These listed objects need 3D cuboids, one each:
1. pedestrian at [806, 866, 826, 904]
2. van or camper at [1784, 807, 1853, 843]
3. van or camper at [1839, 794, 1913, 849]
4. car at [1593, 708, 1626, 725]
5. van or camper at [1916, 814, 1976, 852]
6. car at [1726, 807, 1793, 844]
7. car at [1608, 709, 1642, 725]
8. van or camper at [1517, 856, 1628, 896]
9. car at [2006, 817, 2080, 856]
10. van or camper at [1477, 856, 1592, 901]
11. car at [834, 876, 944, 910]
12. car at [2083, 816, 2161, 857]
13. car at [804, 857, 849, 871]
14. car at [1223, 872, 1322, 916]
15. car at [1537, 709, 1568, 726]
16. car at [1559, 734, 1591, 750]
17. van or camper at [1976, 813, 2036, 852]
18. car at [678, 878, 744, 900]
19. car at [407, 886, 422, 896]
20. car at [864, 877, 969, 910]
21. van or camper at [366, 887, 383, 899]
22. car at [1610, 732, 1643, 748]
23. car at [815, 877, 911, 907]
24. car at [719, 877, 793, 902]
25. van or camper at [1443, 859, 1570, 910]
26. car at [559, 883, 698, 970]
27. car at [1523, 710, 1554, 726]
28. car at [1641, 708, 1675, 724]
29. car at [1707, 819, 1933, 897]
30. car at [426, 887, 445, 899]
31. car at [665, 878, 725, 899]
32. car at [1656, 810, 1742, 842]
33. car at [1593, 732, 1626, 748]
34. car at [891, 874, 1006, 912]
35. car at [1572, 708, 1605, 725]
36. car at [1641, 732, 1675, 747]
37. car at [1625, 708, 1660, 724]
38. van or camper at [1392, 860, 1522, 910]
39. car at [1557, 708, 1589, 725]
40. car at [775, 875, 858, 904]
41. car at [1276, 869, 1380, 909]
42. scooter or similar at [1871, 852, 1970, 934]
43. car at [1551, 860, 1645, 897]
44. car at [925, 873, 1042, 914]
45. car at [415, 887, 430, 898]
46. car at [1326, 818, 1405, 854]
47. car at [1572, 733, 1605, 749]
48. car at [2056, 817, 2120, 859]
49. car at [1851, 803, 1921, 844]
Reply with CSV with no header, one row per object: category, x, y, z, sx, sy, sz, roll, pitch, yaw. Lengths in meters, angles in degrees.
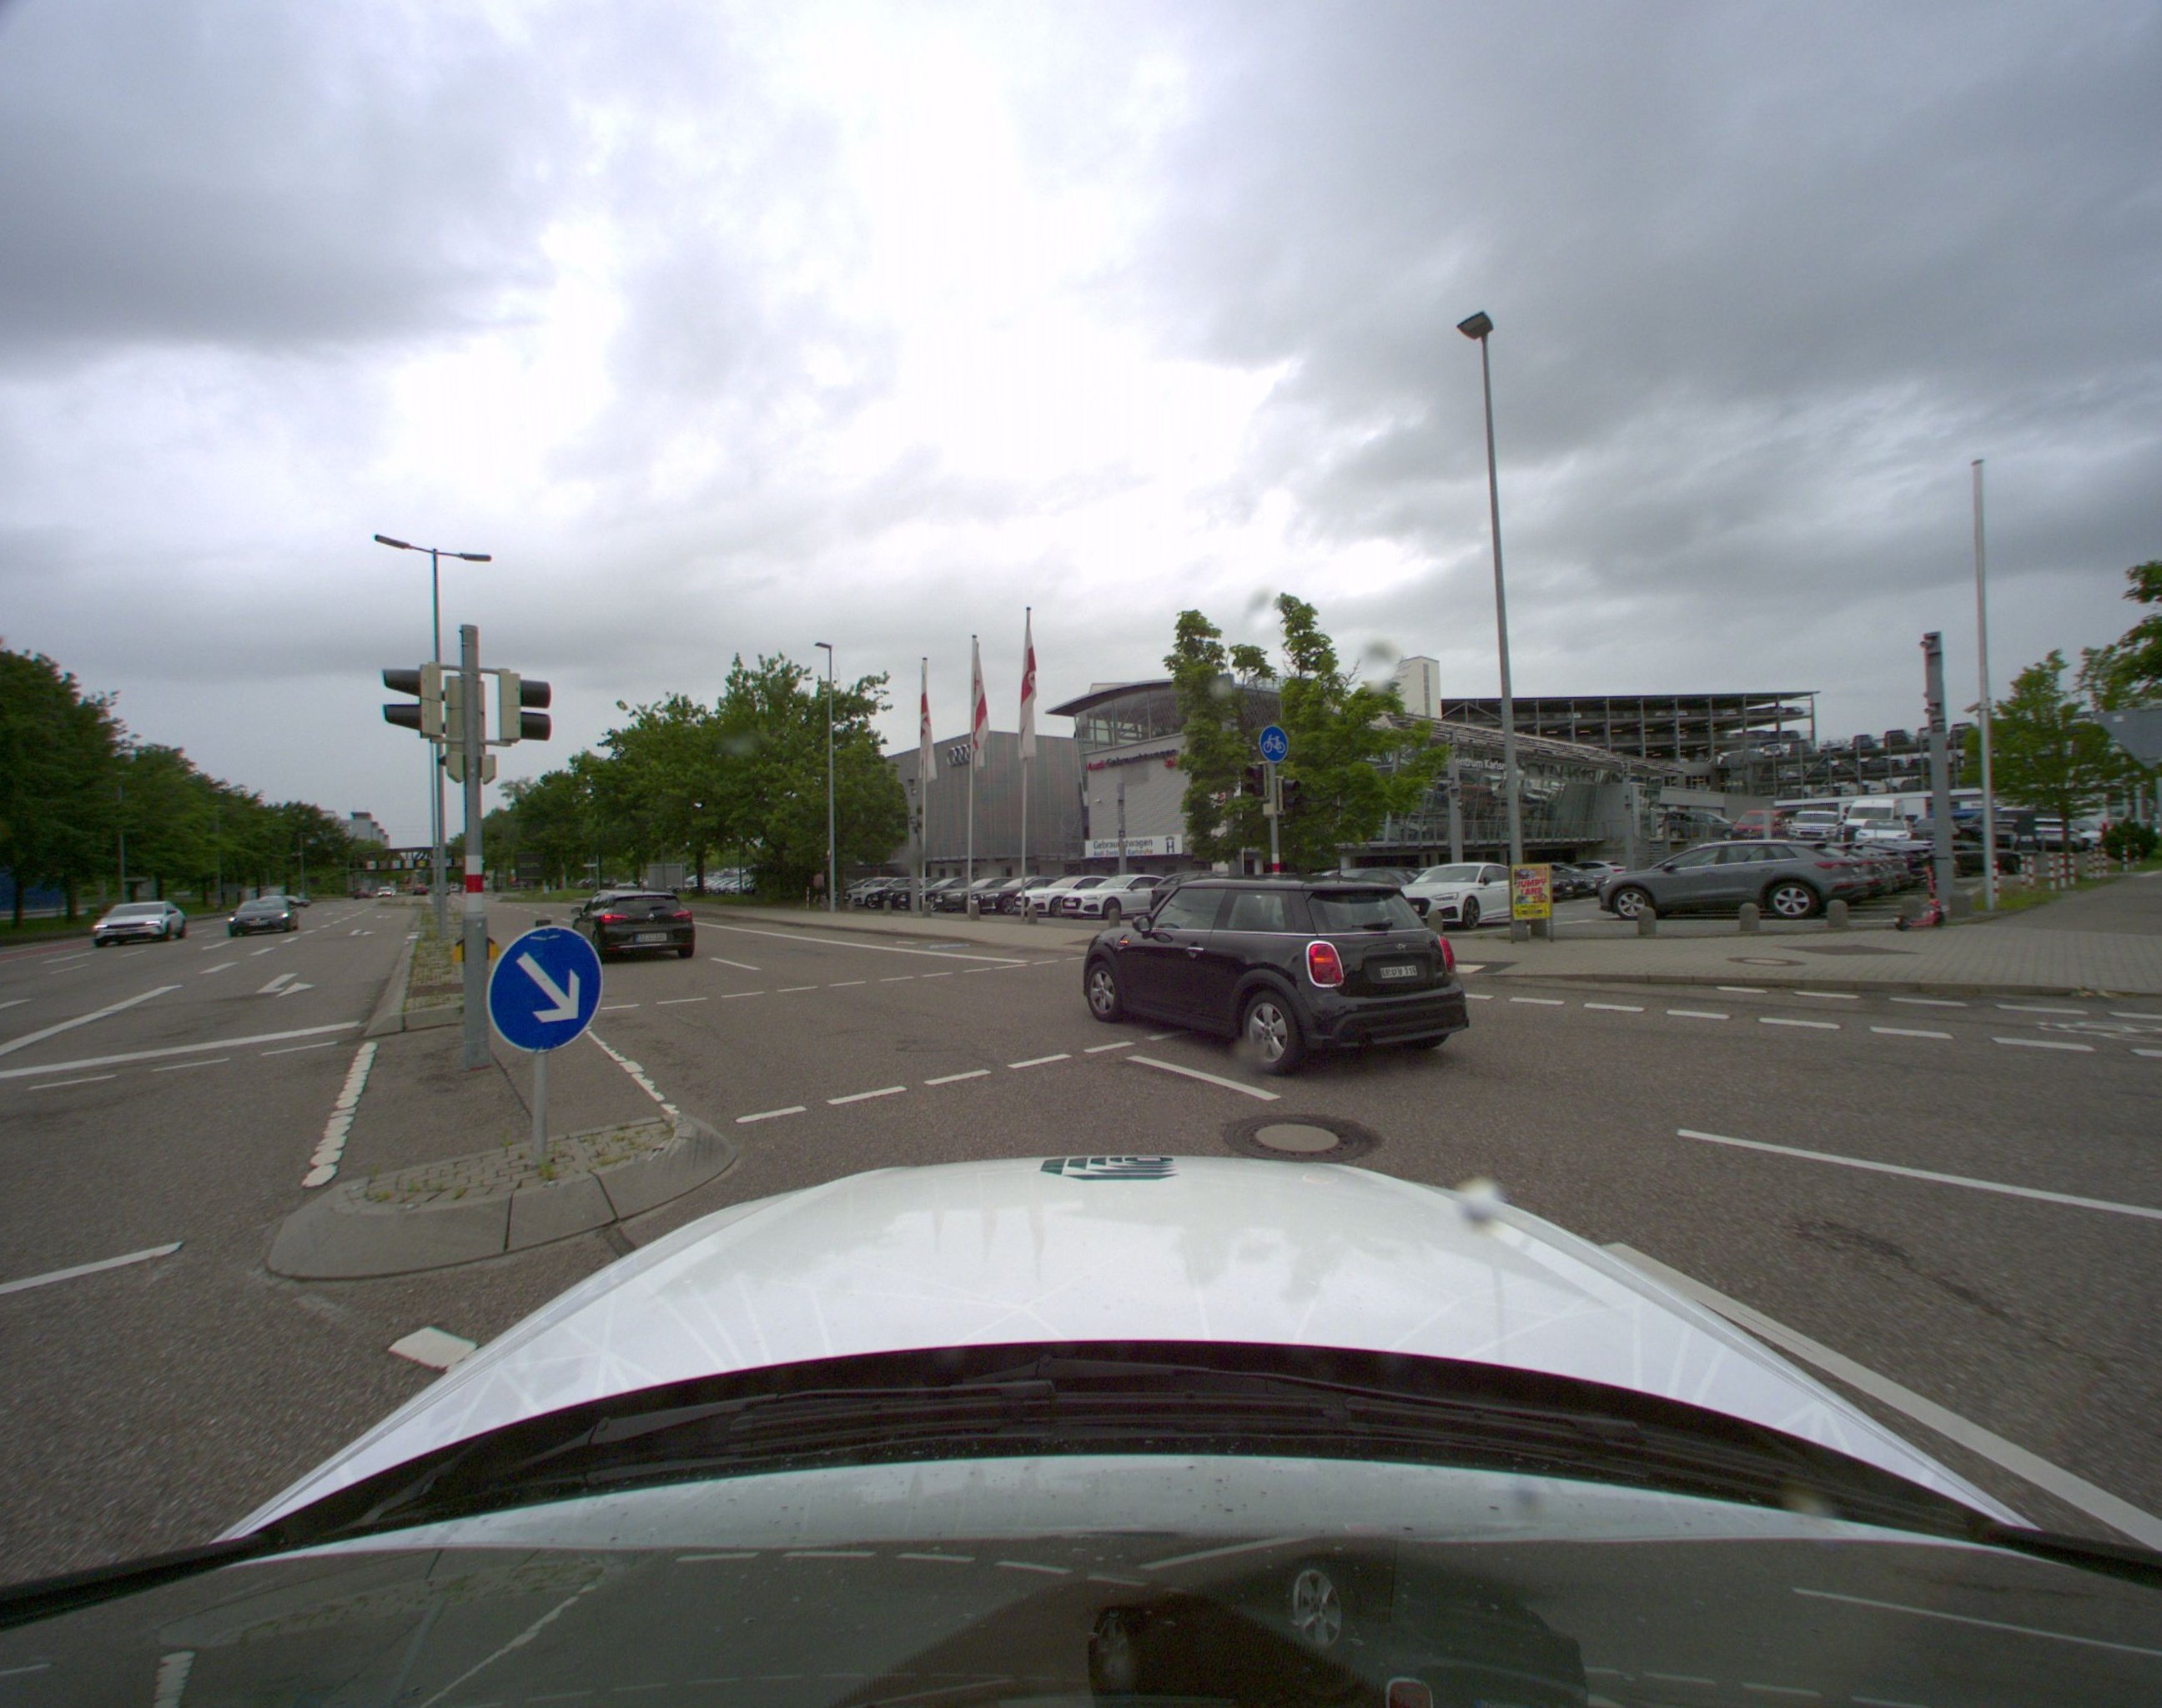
pedestrian,-13.018,1.512,40.023,0.723,1.871,0.666,1,-3,-39
van or camper,37.069,-1.430,40.923,4.020,1.651,1.977,0,0,-39
van or camper,46.392,-1.806,47.494,4.867,3.026,2.515,0,0,-39
car,74.900,-19.450,115.448,1.989,1.667,3.996,-1,0,-3
van or camper,47.994,-1.100,45.151,4.020,2.013,1.977,0,0,-39
car,35.884,-1.451,43.070,4.020,1.849,1.977,0,0,-39
car,77.198,-19.453,115.672,1.989,1.667,3.996,-1,0,-3
van or camper,22.437,0.971,37.294,1.856,1.711,3.954,0,0,-39
car,41.655,-0.714,35.233,4.020,1.618,1.977,0,0,-39
van or camper,19.585,0.990,35.272,1.856,1.816,3.954,0,0,-39
car,-8.972,1.818,38.329,4.687,1.472,1.826,2,-3,-39
car,43.305,-0.682,33.842,4.018,1.618,1.978,0,0,-37
car,-28.323,1.090,90.753,4.372,1.496,1.860,0,0,-40
car,8.187,1.643,34.654,4.340,1.695,1.790,0,0,-39
car,66.681,-19.316,115.168,1.989,1.667,3.996,-1,0,-3
car,69.784,-15.860,115.110,1.989,1.667,3.996,-1,0,-3
van or camper,49.388,-1.101,43.463,4.020,2.013,1.977,0,0,-39
car,-29.978,2.847,66.043,4.427,1.521,1.977,6,-4,-38
car,-124.659,6.967,152.308,1.899,1.662,3.740,0,0,-36
car,-7.284,1.739,36.271,4.188,1.391,1.880,2,-3,-39
van or camper,-116.951,6.374,134.814,1.770,1.746,4.356,-5,2,-39
car,77.338,-16.186,115.527,1.989,1.667,3.996,-1,0,-3
car,-10.803,1.882,40.448,4.238,1.421,1.834,2,-3,-39
car,-22.213,2.446,55.784,4.229,1.486,1.936,5,-3,-39
van or camper,16.459,1.105,31.642,1.856,1.816,3.954,0,0,-39
car,-9.400,1.378,16.765,1.772,1.434,3.953,-1,0,-40
car,64.459,-19.162,114.770,1.989,1.667,3.996,-1,0,-3
car,82.077,-19.635,115.884,1.989,1.667,3.996,-1,0,-3
car,22.022,0.192,24.437,2.011,2.014,4.730,0,-4,-41
car,-100.407,6.128,126.752,2.152,1.662,3.740,0,0,-36
car,-33.095,2.972,69.860,4.207,1.446,1.938,6,-4,-37
car,38.596,-1.720,50.898,1.768,1.838,3.955,0,0,-37
car,74.845,-16.118,115.387,1.989,1.667,3.996,-1,0,-3
car,-5.514,1.638,34.193,4.401,1.471,1.872,3,-3,-39
car,71.791,-19.424,115.289,1.989,1.667,3.996,-1,0,-3
car,82.045,-16.273,115.853,1.989,1.667,3.996,-1,0,-3
car,79.861,-19.640,115.875,1.989,1.667,3.996,-1,0,-3
van or camper,13.963,1.087,30.387,2.010,1.677,3.954,0,0,-39
car,69.543,-19.421,115.249,1.989,1.667,3.996,-1,0,-3
car,-15.478,2.074,47.737,4.155,1.394,1.849,7,-4,-39
car,10.022,1.424,32.873,4.283,1.486,1.906,3,-2,-38
scooter or similar,13.521,0.599,13.112,1.561,1.218,0.555,-1,2,-22
car,27.751,1.280,43.789,1.769,1.838,3.953,0,0,-41
car,-3.769,1.544,31.946,4.211,1.486,1.886,3,-3,-39
car,-127.538,7.436,157.717,1.965,1.816,3.956,0,0,-36
car,13.658,-0.826,39.046,4.020,1.662,1.804,0,0,-40
car,71.989,-15.997,115.591,1.989,1.667,3.996,-1,0,-3
car,51.092,-0.771,41.354,4.020,2.013,1.977,0,0,-39
car,38.559,-1.417,38.978,4.020,1.823,1.977,0,0,-39
